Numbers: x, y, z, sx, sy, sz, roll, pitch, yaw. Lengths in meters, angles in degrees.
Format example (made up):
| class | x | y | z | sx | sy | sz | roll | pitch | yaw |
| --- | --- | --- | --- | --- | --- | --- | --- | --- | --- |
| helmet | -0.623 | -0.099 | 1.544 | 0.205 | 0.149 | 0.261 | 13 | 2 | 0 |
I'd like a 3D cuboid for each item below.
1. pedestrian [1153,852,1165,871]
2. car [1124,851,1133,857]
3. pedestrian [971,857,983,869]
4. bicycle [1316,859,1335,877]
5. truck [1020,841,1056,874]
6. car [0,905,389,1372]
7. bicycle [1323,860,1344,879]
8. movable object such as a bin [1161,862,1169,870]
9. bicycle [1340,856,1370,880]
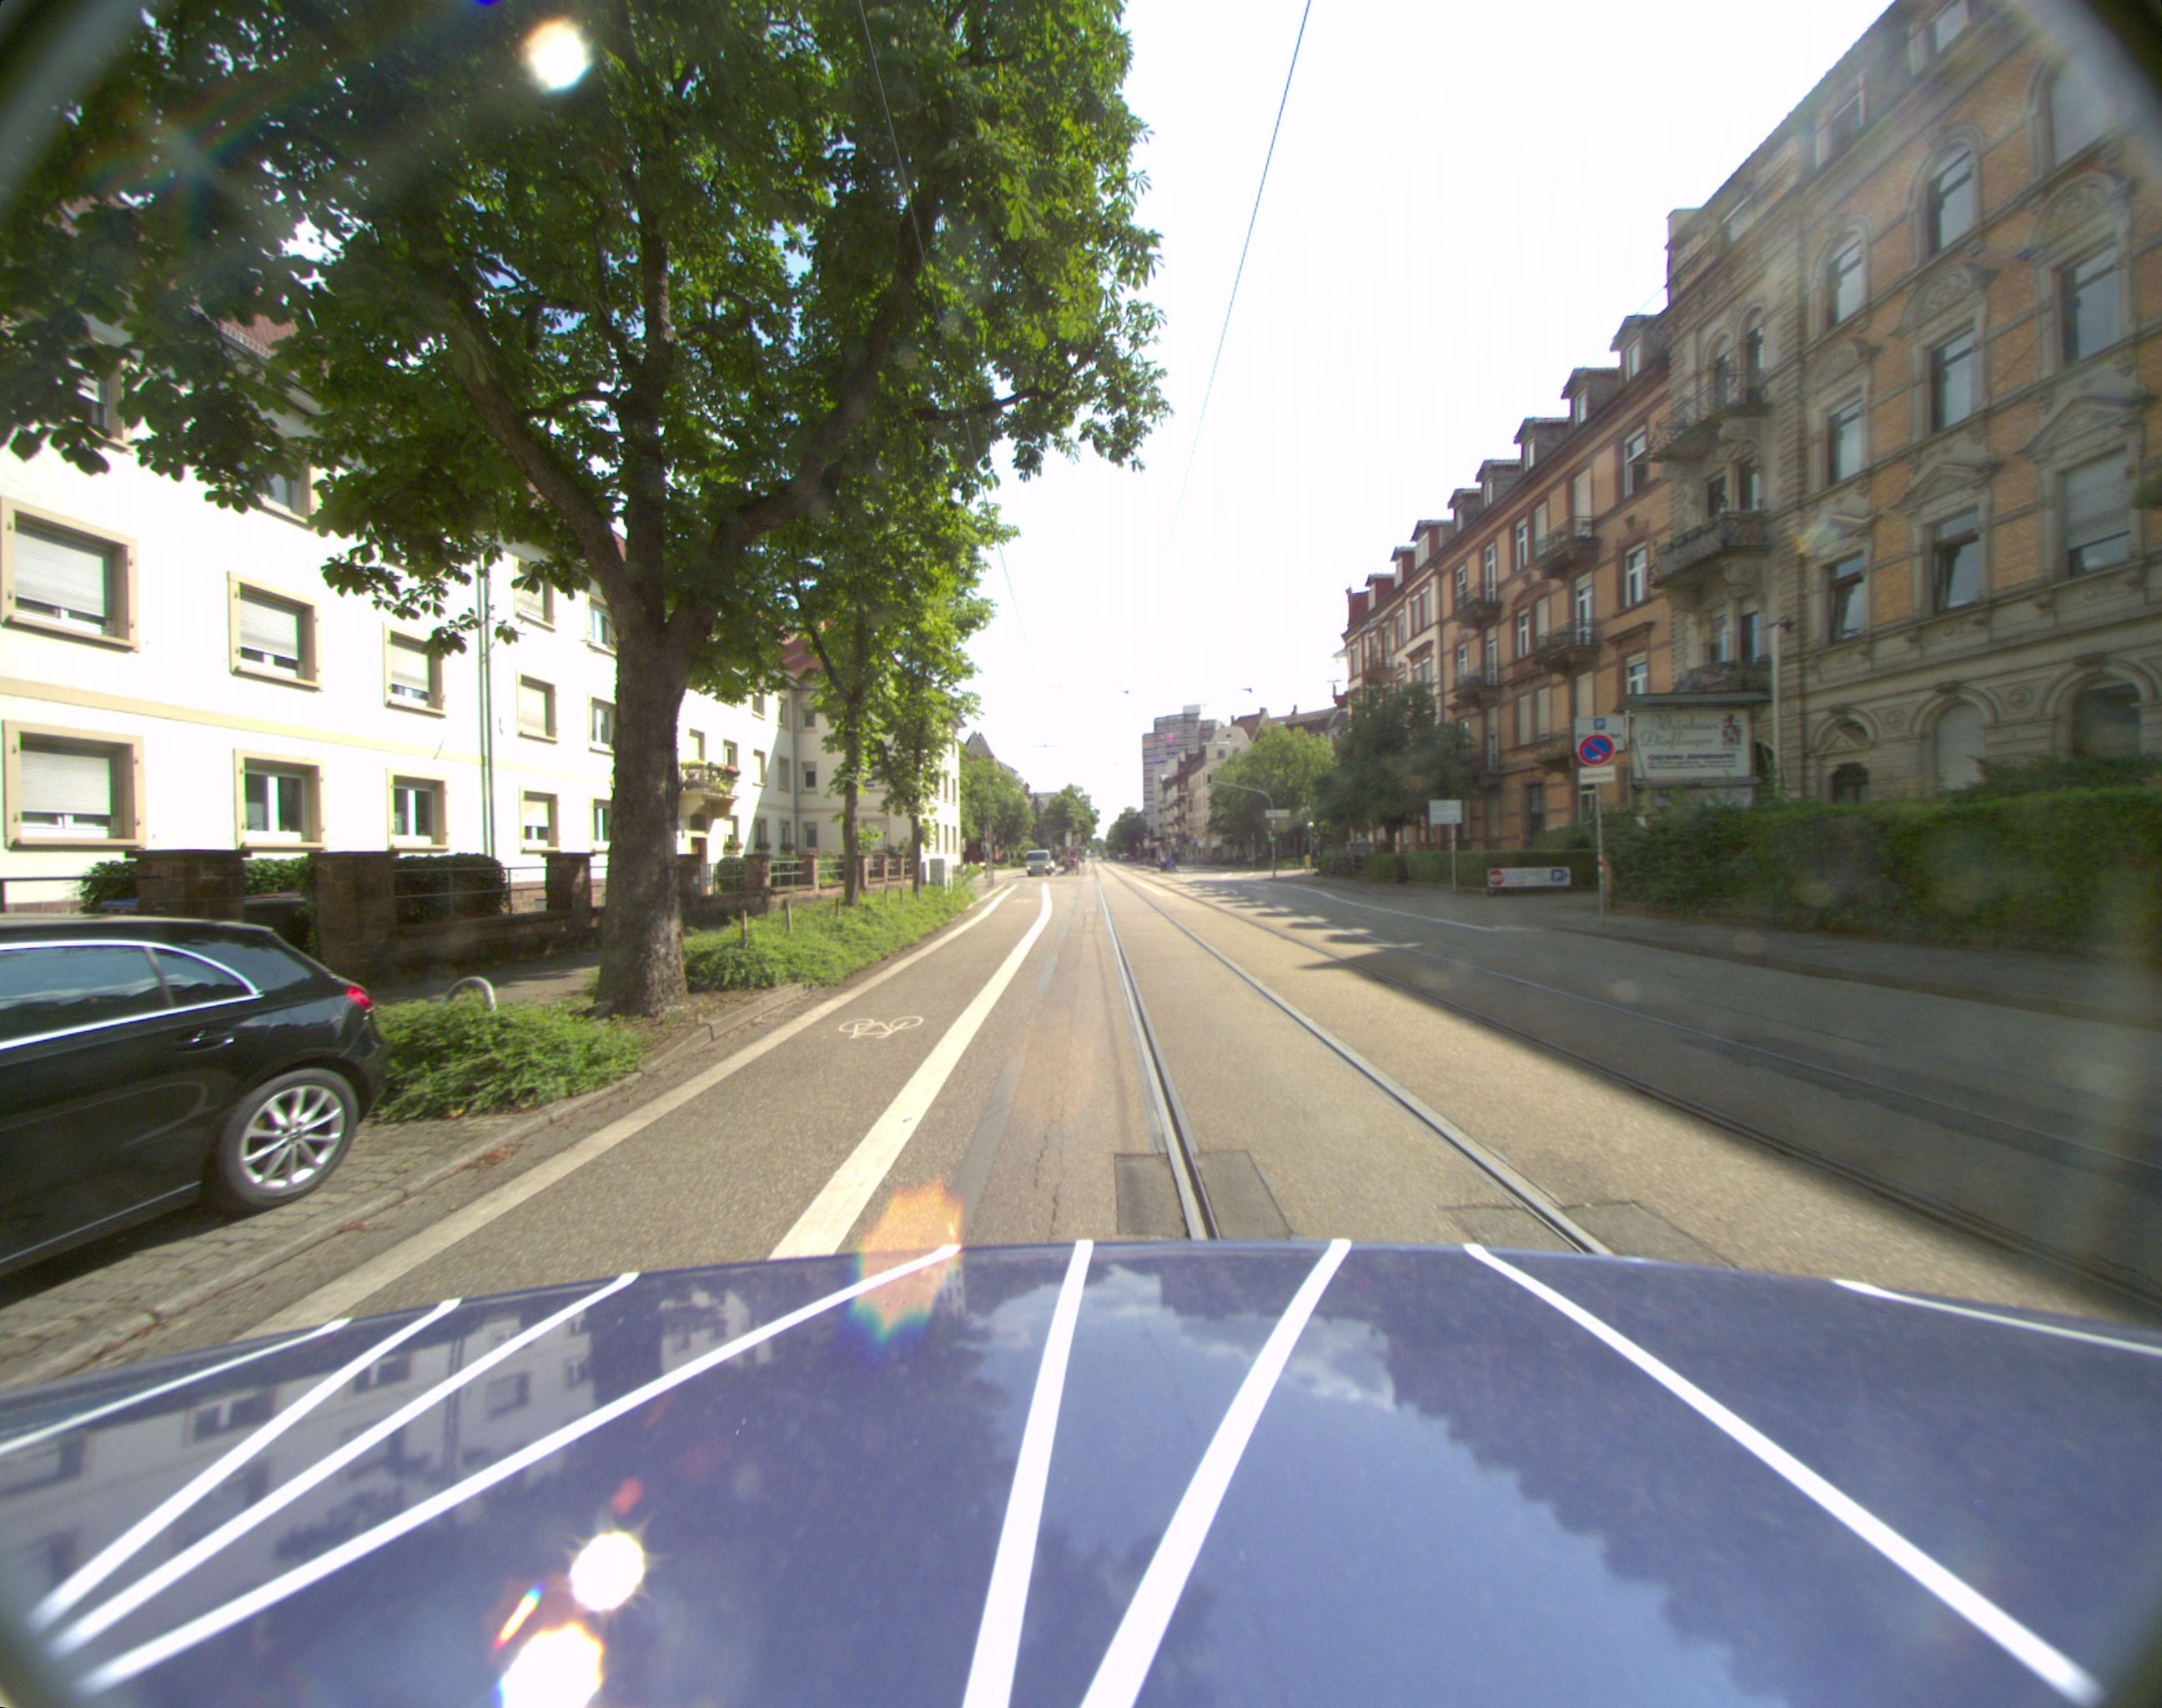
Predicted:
| class | x | y | z | sx | sy | sz | roll | pitch | yaw |
| --- | --- | --- | --- | --- | --- | --- | --- | --- | --- |
| pedestrian | 6.449 | 0.614 | 63.216 | 0.783 | 1.565 | 0.692 | -1 | 0 | -13 |
| car | 11.327 | 0.047 | 181.136 | 1.841 | 1.482 | 3.892 | -1 | 0 | 1 |
| pedestrian | -10.804 | 0.962 | 78.889 | 1.160 | 1.195 | 0.906 | 2 | 0 | -7 |
| bicycle | 13.368 | 0.773 | 41.621 | 0.560 | 0.927 | 1.826 | -1 | 0 | 4 |
| truck | -3.724 | 0.335 | 67.209 | 2.531 | 2.722 | 6.515 | -1 | 0 | 1 |
| car | -4.593 | 1.060 | 1.947 | 1.665 | 1.512 | 4.287 | -2 | 0 | 0 |
| bicycle | 13.104 | 0.782 | 39.511 | 0.560 | 0.927 | 1.826 | -1 | 0 | 4 |
| movable object such as a bin | 7.058 | 1.015 | 63.622 | 0.513 | 0.713 | 0.457 | -1 | 0 | -13 |
| bicycle | 13.642 | 0.700 | 37.845 | 1.308 | 1.124 | 0.497 | -1 | 1 | 0 |
